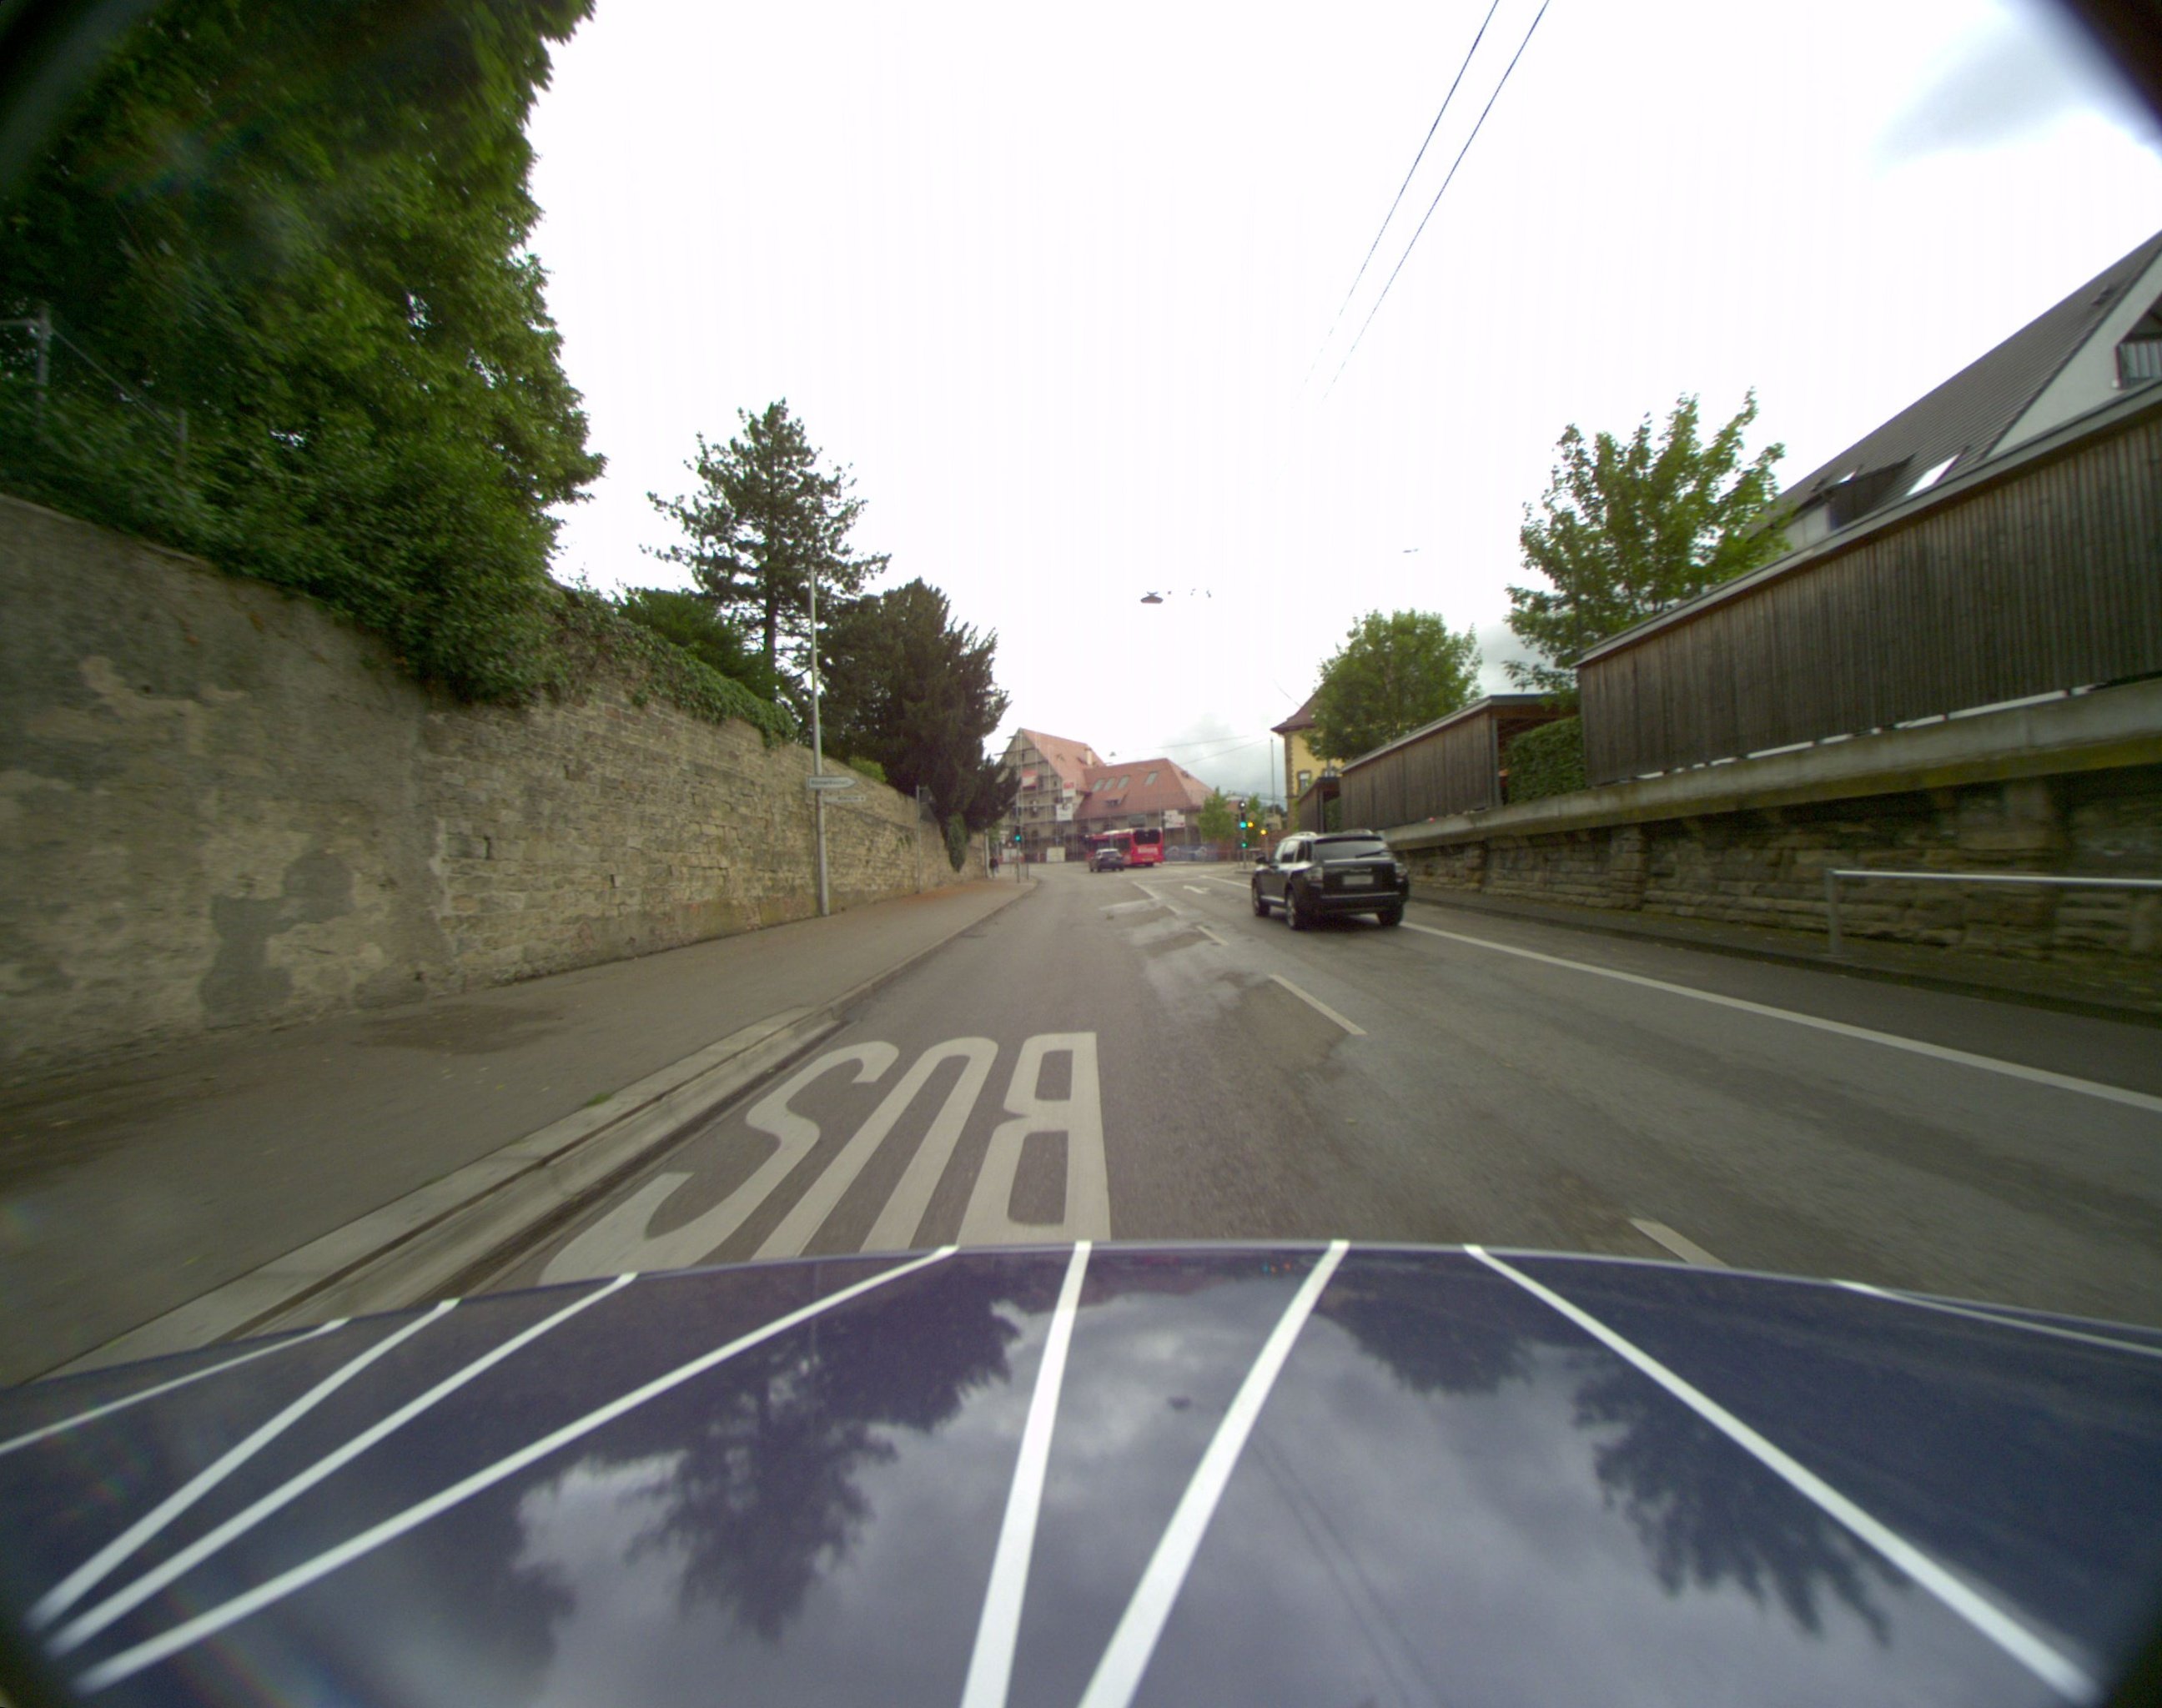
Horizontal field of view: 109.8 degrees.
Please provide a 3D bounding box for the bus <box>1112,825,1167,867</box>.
[{"bbox_3d":[4.681,-0.603,62.523,2.666,3.104,8.286,-4,1,-8],"label":"bus"}]

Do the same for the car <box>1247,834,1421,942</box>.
[{"bbox_3d":[4.633,0.536,14.680,1.899,1.746,4.436,-1,1,0],"label":"car"}]

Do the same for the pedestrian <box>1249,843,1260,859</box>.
[{"bbox_3d":[18.440,-0.309,80.825,0.796,1.710,0.928,0,1,39],"label":"pedestrian"}]

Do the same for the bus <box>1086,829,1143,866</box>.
[{"bbox_3d":[2.977,-0.546,71.626,2.667,3.104,10.008,-4,1,-13],"label":"bus"}]

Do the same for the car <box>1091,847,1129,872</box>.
[{"bbox_3d":[2.061,0.393,55.867,1.928,1.621,4.519,-5,1,-8],"label":"car"}]

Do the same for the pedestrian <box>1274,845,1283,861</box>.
[{"bbox_3d":[19.757,-0.070,76.047,0.541,1.568,0.651,-2,1,-39],"label":"pedestrian"}]

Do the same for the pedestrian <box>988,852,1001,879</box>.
[{"bbox_3d":[-5.117,0.695,45.086,0.733,1.567,0.743,0,0,-2],"label":"pedestrian"}]
